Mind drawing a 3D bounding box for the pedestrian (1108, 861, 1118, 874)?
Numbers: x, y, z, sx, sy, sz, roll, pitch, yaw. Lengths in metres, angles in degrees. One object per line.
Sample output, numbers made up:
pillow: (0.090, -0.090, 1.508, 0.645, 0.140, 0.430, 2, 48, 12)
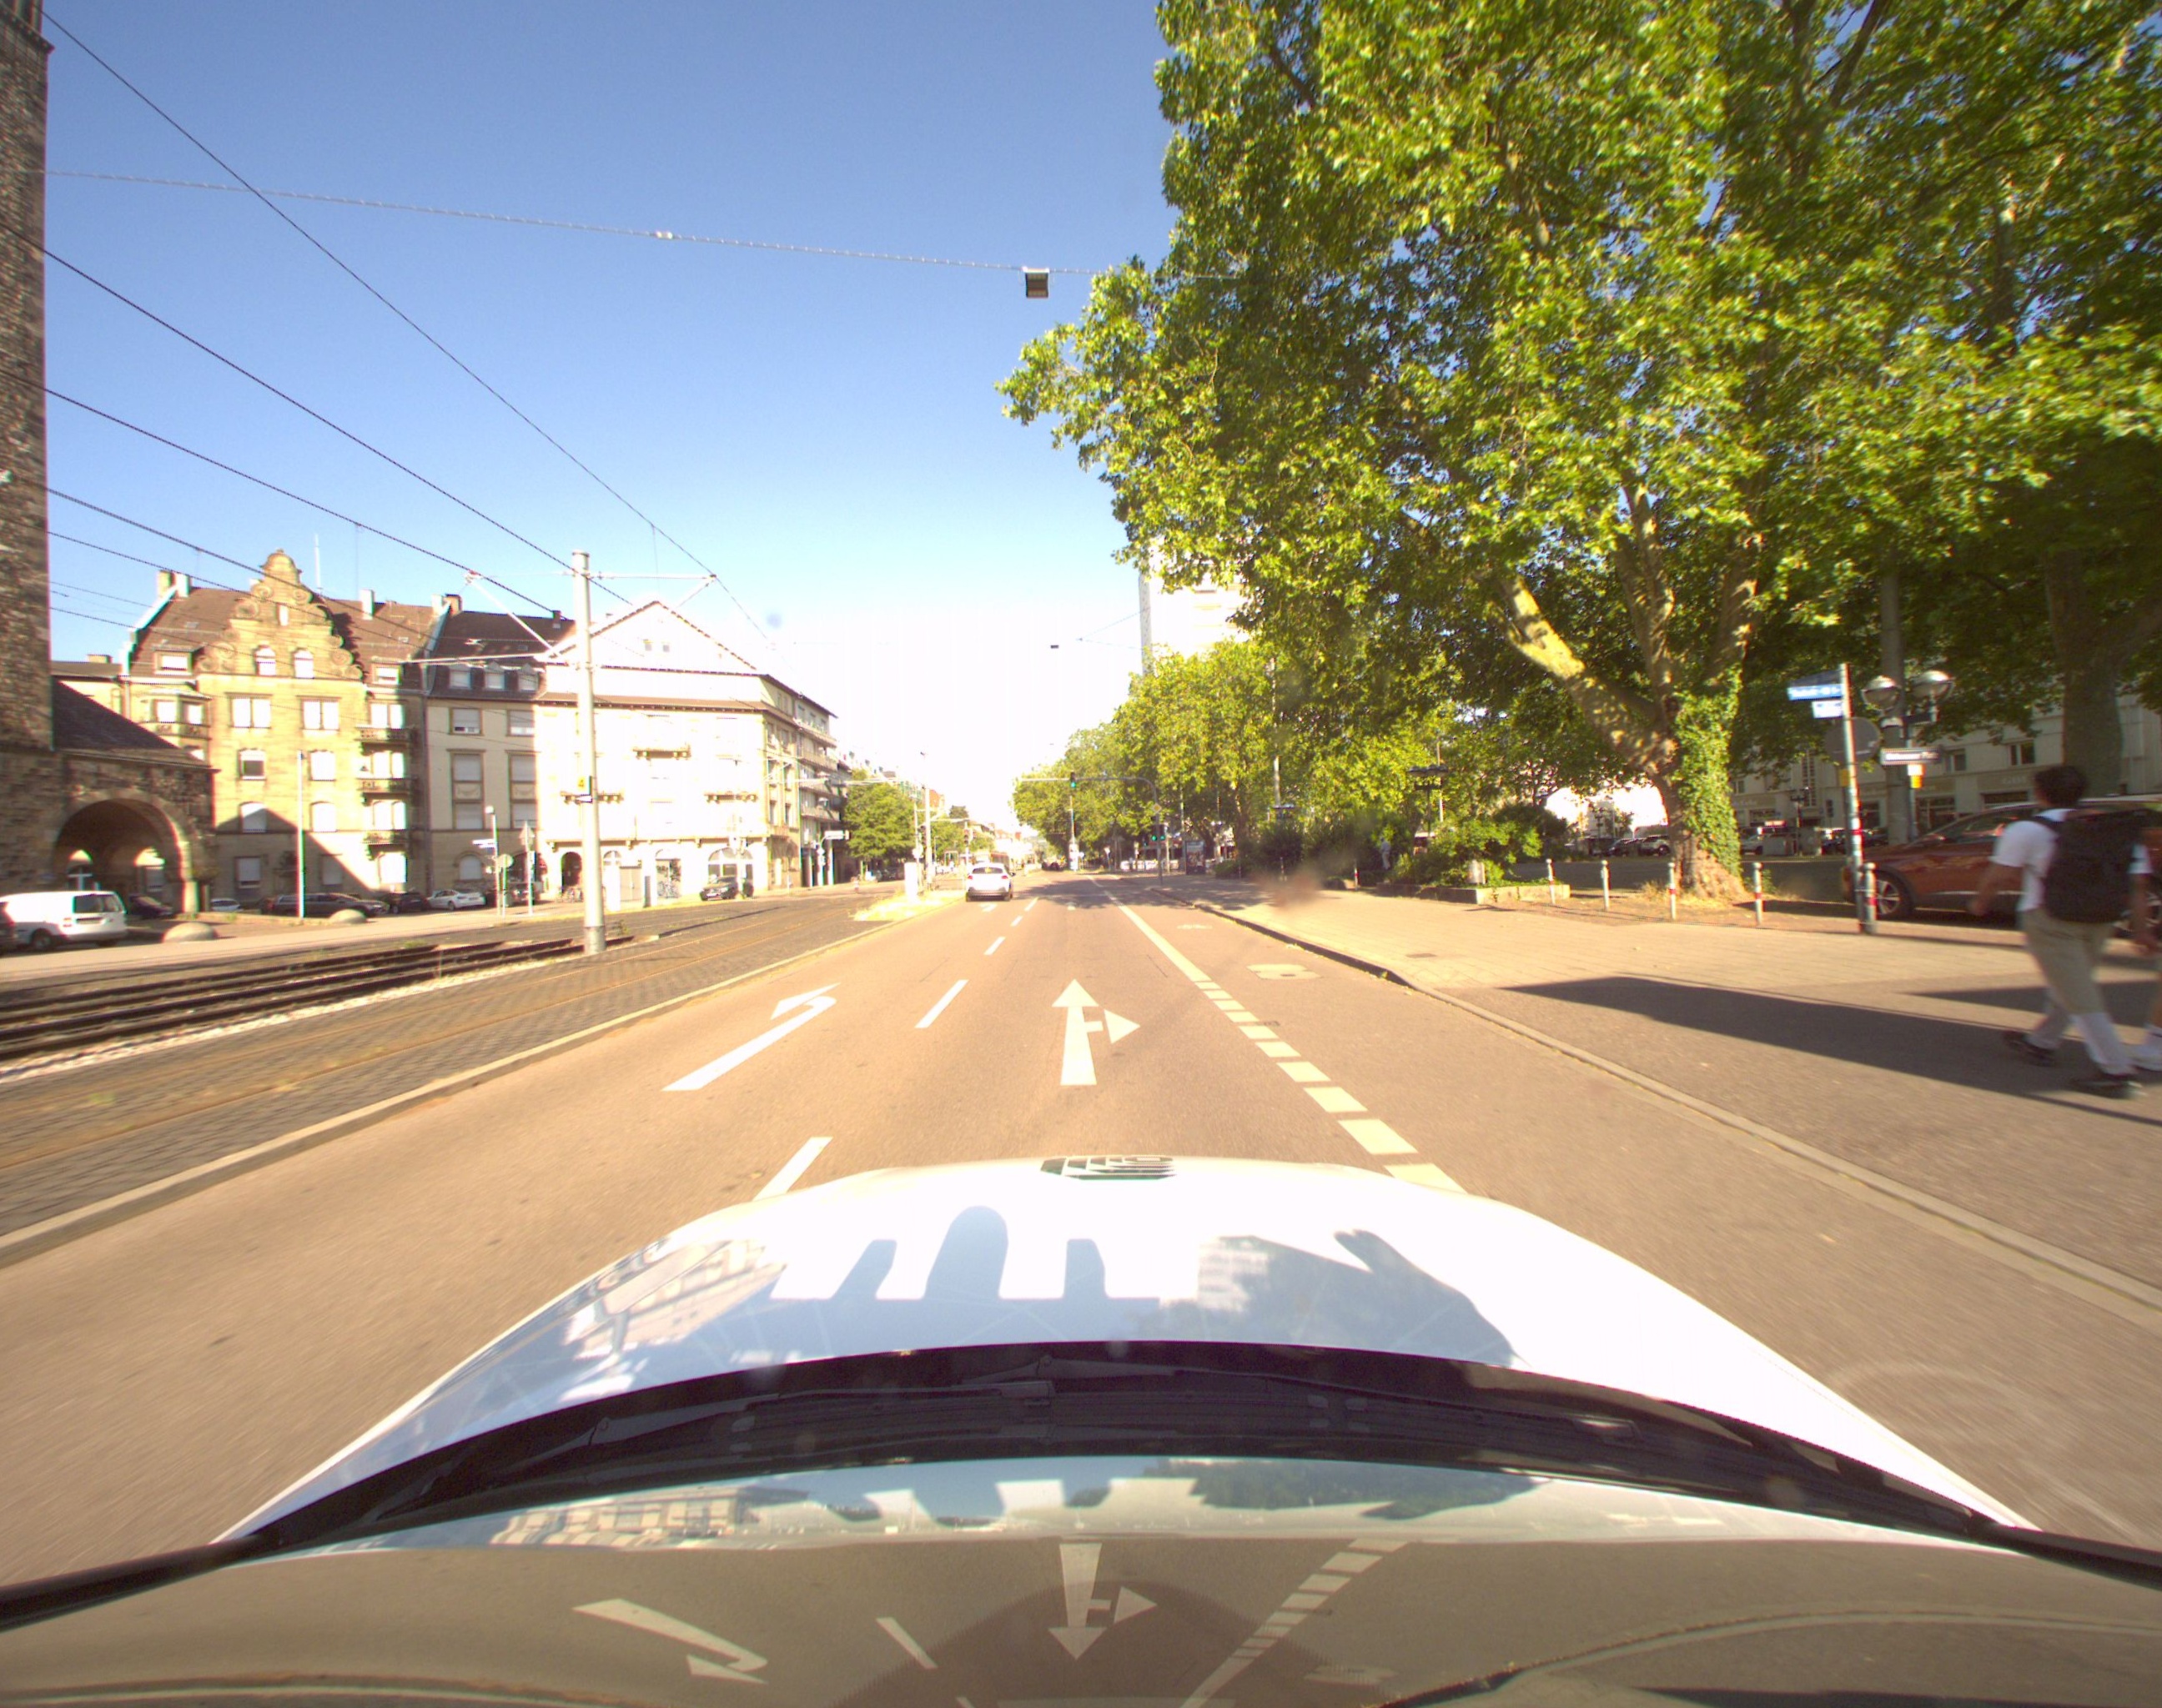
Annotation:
pedestrian: (3.228, 1.348, 81.743, 0.653, 1.388, 0.837, 0, -1, 31)

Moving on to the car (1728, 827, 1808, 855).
car: (45.739, -0.869, 54.270, 3.986, 1.618, 1.858, -3, -1, -9)

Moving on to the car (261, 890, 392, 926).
car: (-41.818, 2.984, 45.312, 4.950, 1.753, 1.982, 0, -1, -28)

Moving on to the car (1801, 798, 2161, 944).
car: (12.580, 0.131, 10.763, 1.813, 1.602, 4.656, -3, 1, -4)

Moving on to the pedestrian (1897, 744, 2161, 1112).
pedestrian: (5.295, 0.358, 4.456, 0.600, 1.776, 0.879, -6, -1, 3)

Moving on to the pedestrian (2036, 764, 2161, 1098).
pedestrian: (6.008, 0.394, 4.441, 0.600, 1.776, 0.690, -6, -1, 2)

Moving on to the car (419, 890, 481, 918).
car: (-43.265, 3.393, 55.820, 4.539, 1.753, 2.013, 0, -1, 33)

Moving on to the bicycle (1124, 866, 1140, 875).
bicycle: (5.125, 1.669, 82.057, 1.197, 0.934, 2.568, 0, 0, -7)

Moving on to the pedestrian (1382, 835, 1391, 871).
pedestrian: (15.928, -0.031, 42.499, 0.389, 1.866, 0.340, 0, -1, 13)

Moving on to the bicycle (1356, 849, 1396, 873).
bicycle: (15.574, 0.349, 42.985, 2.329, 1.240, 0.451, 0, -1, -22)

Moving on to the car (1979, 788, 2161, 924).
car: (14.714, -0.010, 10.079, 1.854, 1.735, 4.796, -3, 1, -1)

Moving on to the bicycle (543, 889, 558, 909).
bicycle: (-37.934, 3.227, 58.277, 0.827, 1.283, 2.539, 0, -1, -32)

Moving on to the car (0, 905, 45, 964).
car: (-32.438, 2.295, 22.973, 3.972, 1.629, 1.895, 0, -1, 1)

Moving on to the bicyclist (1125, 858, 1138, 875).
bicyclist: (5.119, 1.276, 82.057, 1.197, 1.696, 0.902, 0, -1, -7)

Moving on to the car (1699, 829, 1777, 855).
car: (45.680, -0.831, 56.645, 4.282, 1.618, 1.857, -3, -1, -10)

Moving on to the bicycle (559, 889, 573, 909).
bicycle: (-37.155, 3.217, 58.761, 0.827, 1.283, 2.539, 0, -1, -32)

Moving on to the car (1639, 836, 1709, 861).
car: (45.003, -0.399, 61.879, 3.880, 1.684, 1.998, -3, -1, -3)

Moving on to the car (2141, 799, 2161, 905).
car: (16.925, -0.047, 10.281, 1.854, 1.570, 3.998, -3, 1, -1)

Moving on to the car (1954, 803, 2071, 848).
car: (56.415, -1.676, 49.380, 5.056, 2.626, 2.055, 0, -1, -4)

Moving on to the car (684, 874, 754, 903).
car: (-21.483, 2.026, 48.578, 1.987, 1.449, 4.838, -4, 0, -1)

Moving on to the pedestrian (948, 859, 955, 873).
pedestrian: (-16.809, 1.546, 105.688, 0.961, 1.833, 0.987, 0, -1, -7)

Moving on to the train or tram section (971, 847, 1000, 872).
train or tram section: (-13.574, 0.780, 116.243, 2.943, 3.410, 10.787, 0, 0, 0)

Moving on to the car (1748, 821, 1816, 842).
car: (55.780, -1.781, 64.835, 3.981, 1.659, 1.815, 0, -1, -6)

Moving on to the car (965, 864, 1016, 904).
car: (-3.554, 1.163, 32.416, 1.741, 1.462, 3.641, 0, 0, -2)

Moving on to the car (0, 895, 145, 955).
car: (-32.818, 2.211, 25.854, 3.972, 1.756, 1.895, 0, -1, 1)

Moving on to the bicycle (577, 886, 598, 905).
bicycle: (-35.832, 3.008, 59.133, 0.824, 1.283, 2.547, 0, 0, -20)

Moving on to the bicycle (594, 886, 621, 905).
bicycle: (-34.912, 3.013, 60.093, 0.821, 1.283, 2.556, 0, 0, -9)

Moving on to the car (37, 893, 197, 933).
car: (-49.201, 2.967, 41.729, 4.777, 1.753, 2.136, 0, -1, -27)

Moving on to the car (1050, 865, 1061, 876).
car: (-4.871, 3.136, 155.621, 1.987, 2.014, 3.999, 0, 0, -1)
